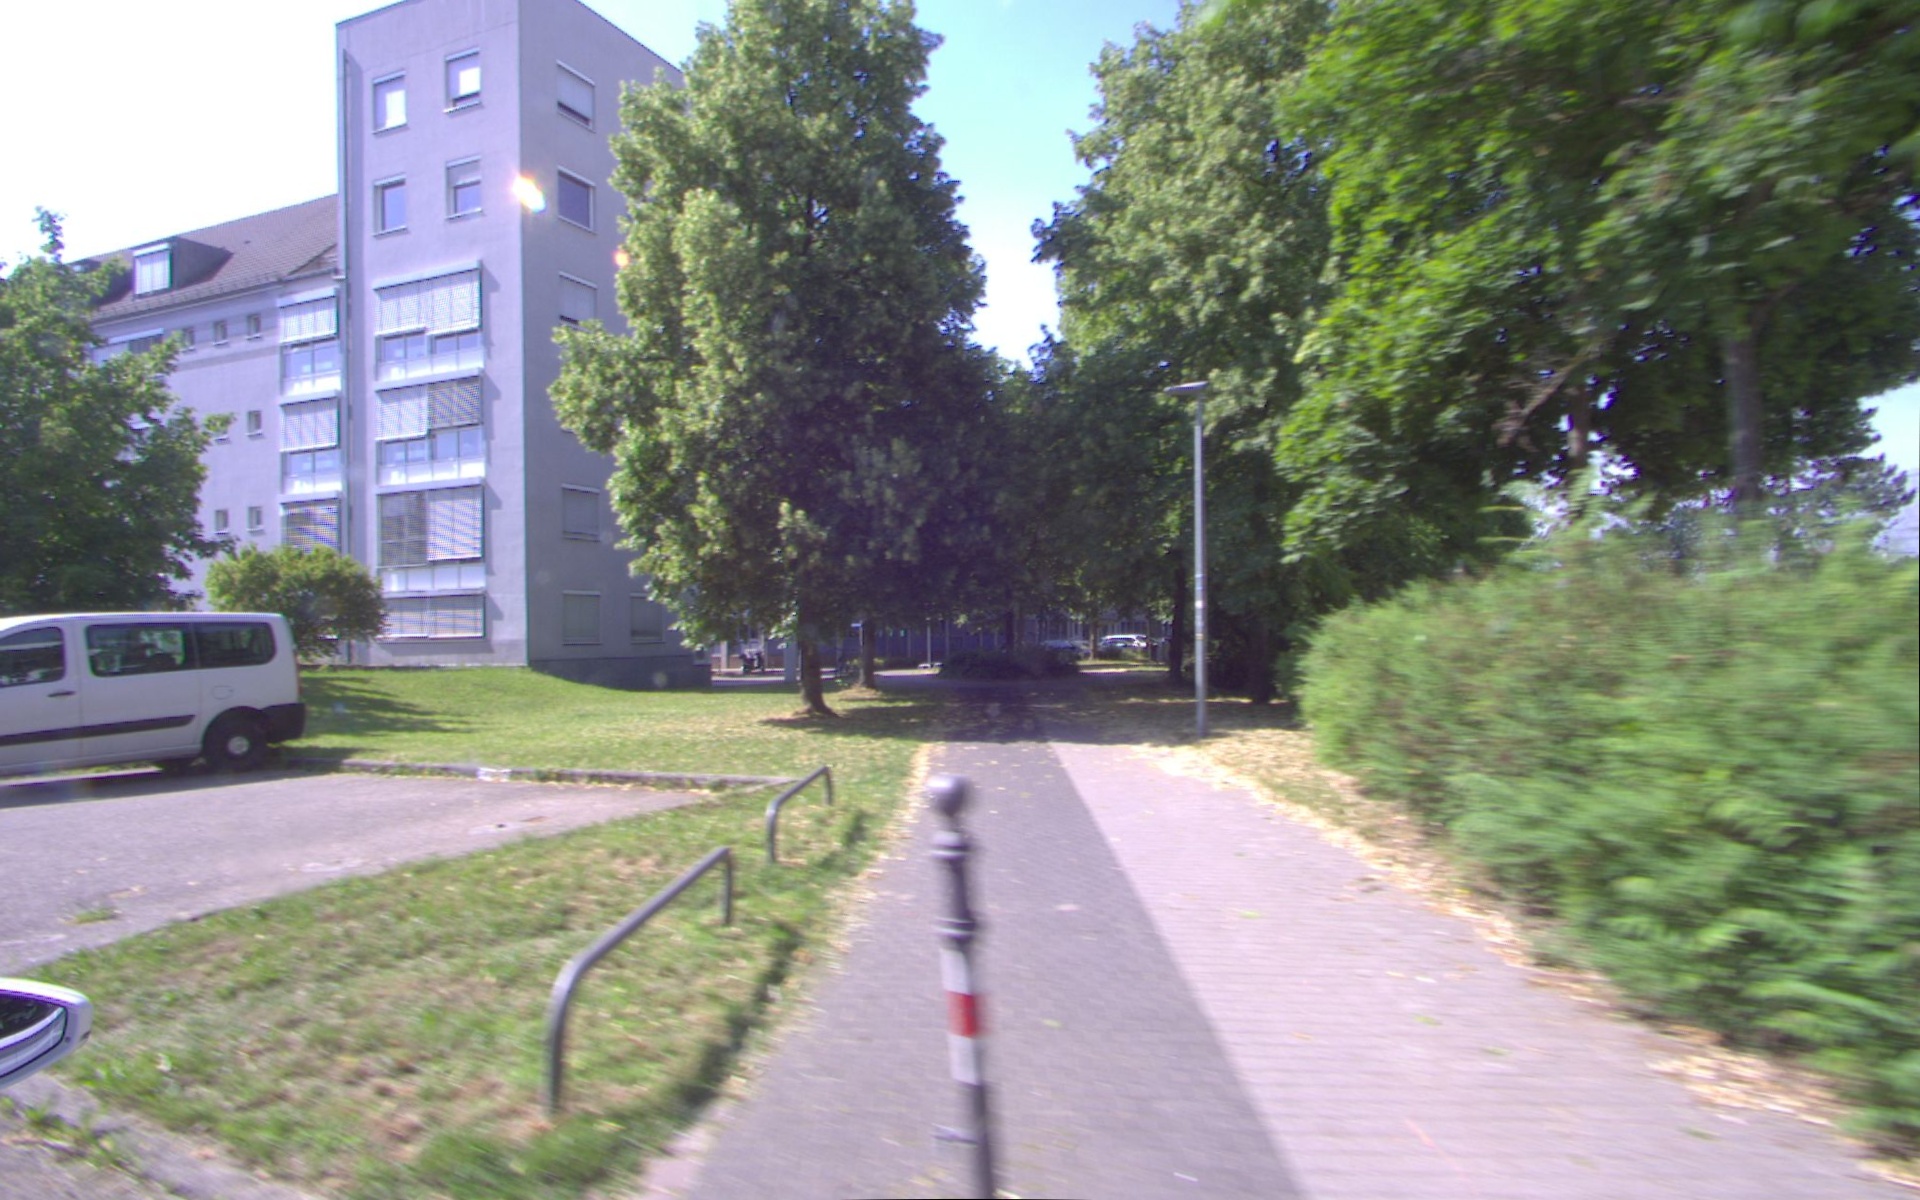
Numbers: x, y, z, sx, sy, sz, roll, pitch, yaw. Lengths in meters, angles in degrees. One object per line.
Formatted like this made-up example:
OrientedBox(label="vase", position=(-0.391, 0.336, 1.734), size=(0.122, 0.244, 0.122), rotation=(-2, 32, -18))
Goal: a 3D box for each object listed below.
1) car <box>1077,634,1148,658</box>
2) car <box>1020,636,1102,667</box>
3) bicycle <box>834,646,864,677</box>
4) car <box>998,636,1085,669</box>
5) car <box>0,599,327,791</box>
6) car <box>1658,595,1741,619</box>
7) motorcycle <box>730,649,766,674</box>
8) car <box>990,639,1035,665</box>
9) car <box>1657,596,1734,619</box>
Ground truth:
OrientedBox(label="car", position=(10.492, 3.141, 68.909), size=(4.487, 1.567, 1.765), rotation=(-1, -2, 33))
OrientedBox(label="car", position=(5.815, 2.945, 57.762), size=(4.304, 1.661, 1.991), rotation=(-1, 0, 30))
OrientedBox(label="bicycle", position=(-3.968, 2.201, 35.946), size=(0.388, 1.063, 1.445), rotation=(-1, -2, 25))
OrientedBox(label="car", position=(4.518, 2.873, 55.514), size=(4.372, 1.661, 1.991), rotation=(-1, 0, 30))
OrientedBox(label="car", position=(-10.315, 1.006, 11.336), size=(1.970, 1.957, 5.020), rotation=(-1, -2, 29))
OrientedBox(label="car", position=(51.869, 0.512, 70.372), size=(4.512, 1.623, 1.545), rotation=(-1, -2, 31))
OrientedBox(label="motorcycle", position=(-11.005, 3.192, 52.036), size=(0.620, 1.262, 2.054), rotation=(-1, -2, 29))
OrientedBox(label="car", position=(3.632, 3.509, 68.099), size=(1.830, 1.617, 3.990), rotation=(0, -1, 23))
OrientedBox(label="car", position=(53.177, 0.562, 72.503), size=(4.302, 1.623, 1.545), rotation=(-1, -2, 31))
